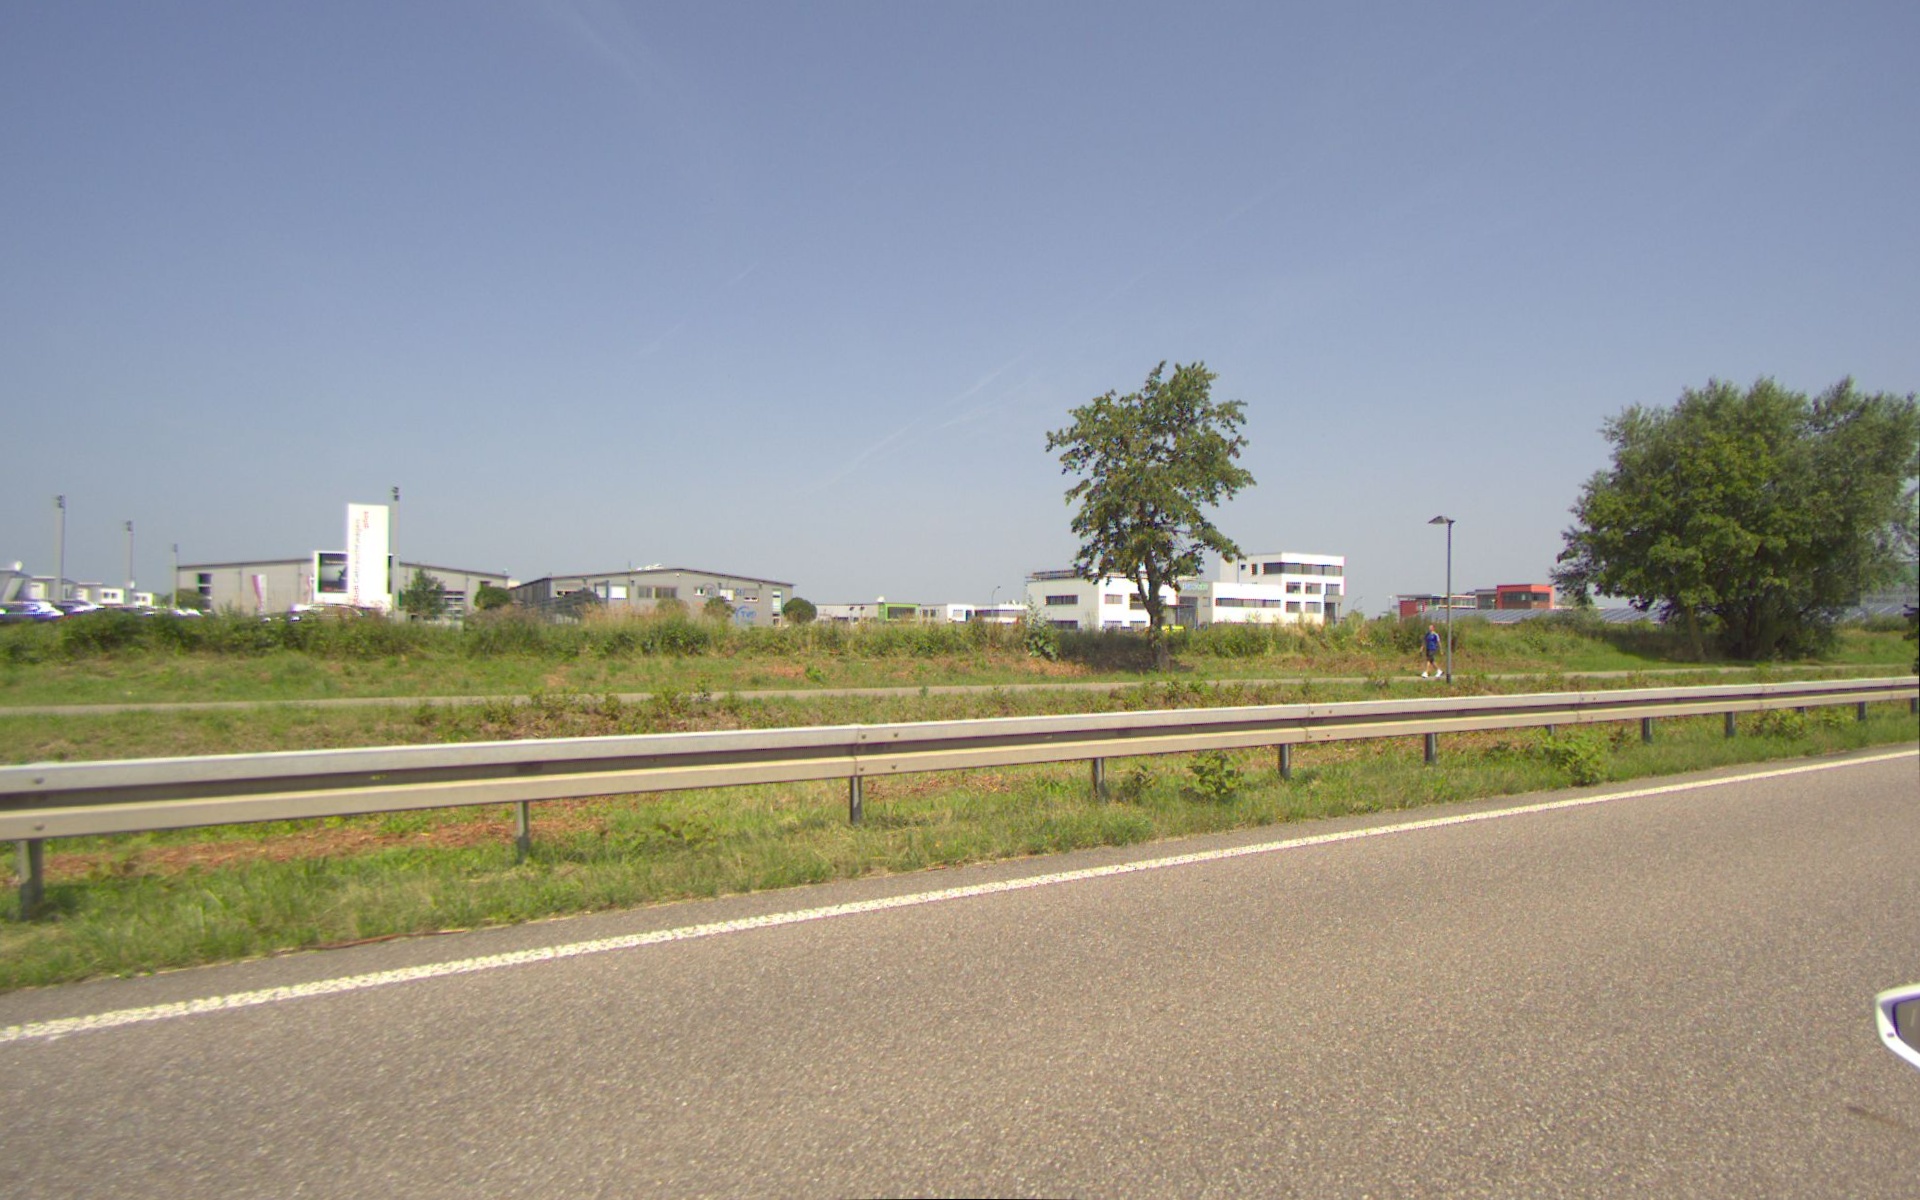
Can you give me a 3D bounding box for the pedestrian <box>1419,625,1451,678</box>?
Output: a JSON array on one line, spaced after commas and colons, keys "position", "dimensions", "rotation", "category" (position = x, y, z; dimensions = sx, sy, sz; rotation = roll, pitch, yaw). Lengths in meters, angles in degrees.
[{"position": [16.310, 1.764, 34.491], "dimensions": [0.810, 1.773, 0.577], "rotation": [1, -2, -25], "category": "pedestrian"}]
